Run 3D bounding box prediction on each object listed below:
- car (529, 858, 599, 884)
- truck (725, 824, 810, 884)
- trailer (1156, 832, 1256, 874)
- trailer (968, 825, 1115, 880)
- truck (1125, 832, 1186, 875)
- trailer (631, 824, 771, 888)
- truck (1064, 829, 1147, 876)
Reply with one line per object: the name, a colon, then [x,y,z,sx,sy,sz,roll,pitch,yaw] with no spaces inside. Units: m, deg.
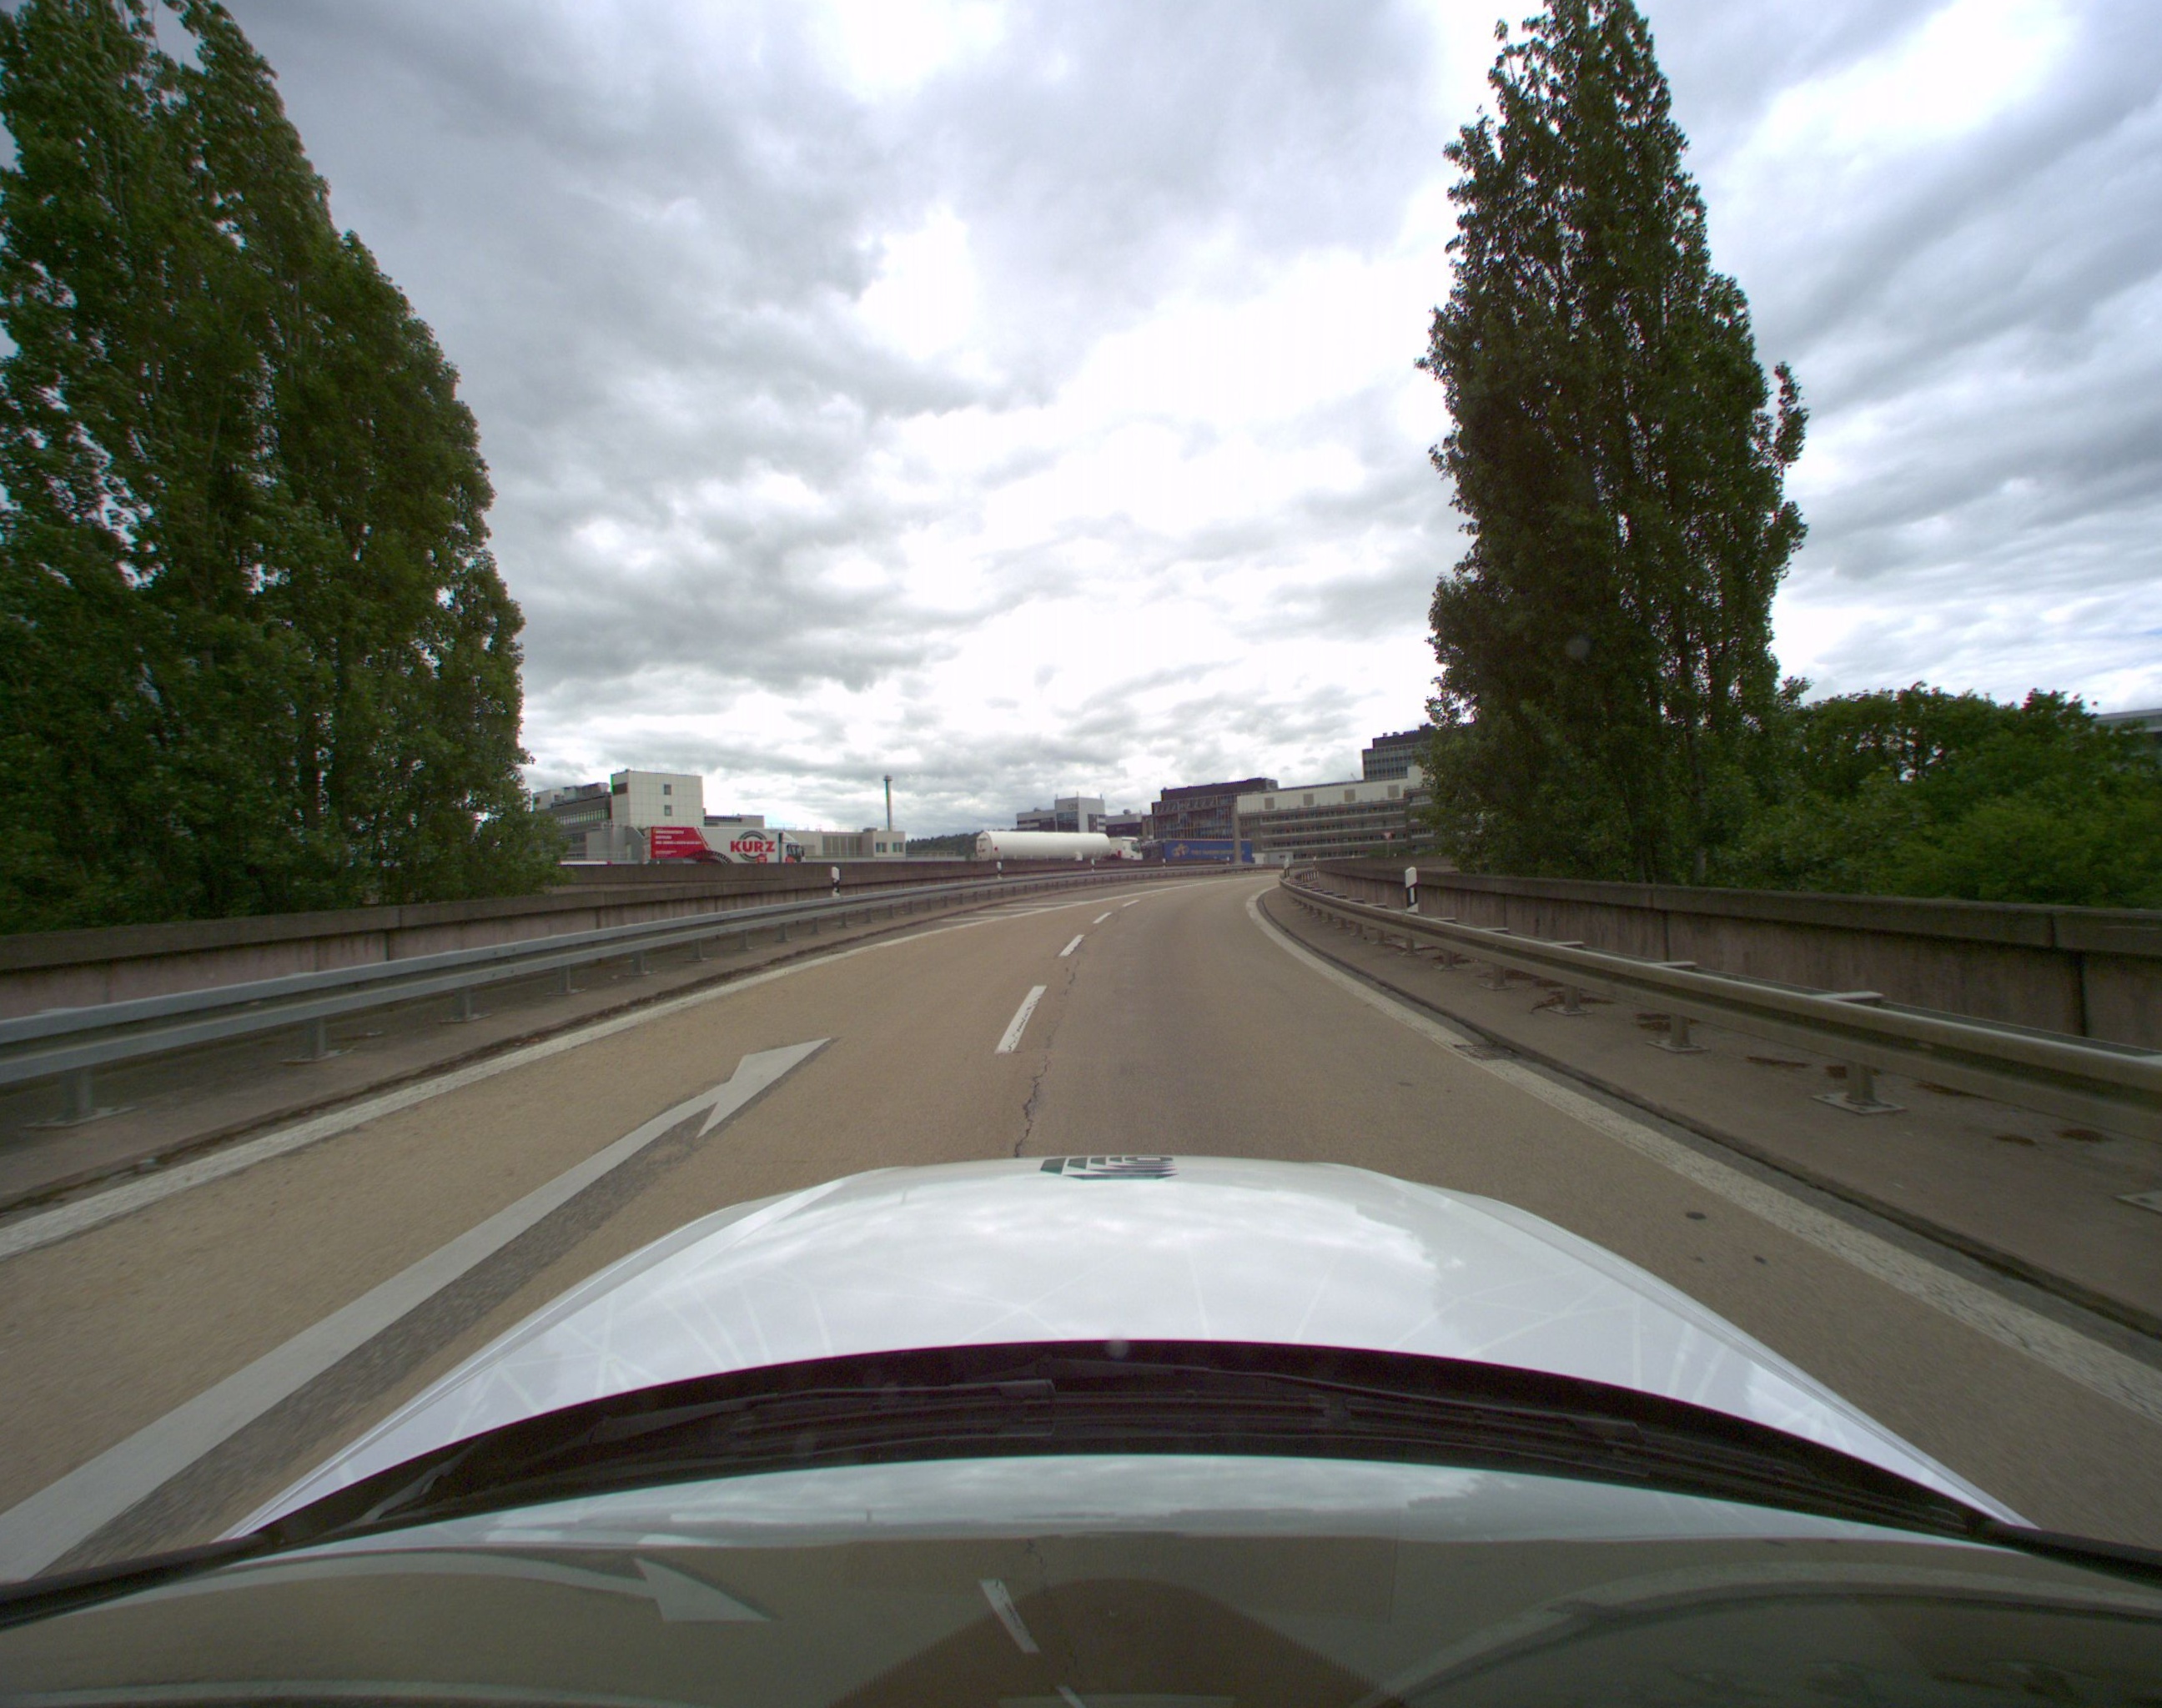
car: [-33.068,1.047,52.094,3.666,1.518,1.670,-1,2,-36]
truck: [-20.283,0.006,52.727,4.460,3.690,2.669,-1,-2,-37]
trailer: [14.284,-0.215,92.043,12.574,4.347,3.136,-1,-2,-37]
trailer: [-2.752,-0.167,60.732,11.206,3.738,2.769,-1,-2,-37]
truck: [8.056,-0.065,87.430,5.719,4.347,3.136,-1,-2,-36]
trailer: [-23.397,0.081,50.327,7.347,3.690,2.668,-1,-2,-38]
truck: [1.979,-0.131,64.301,5.993,3.430,2.747,-1,-2,-37]
